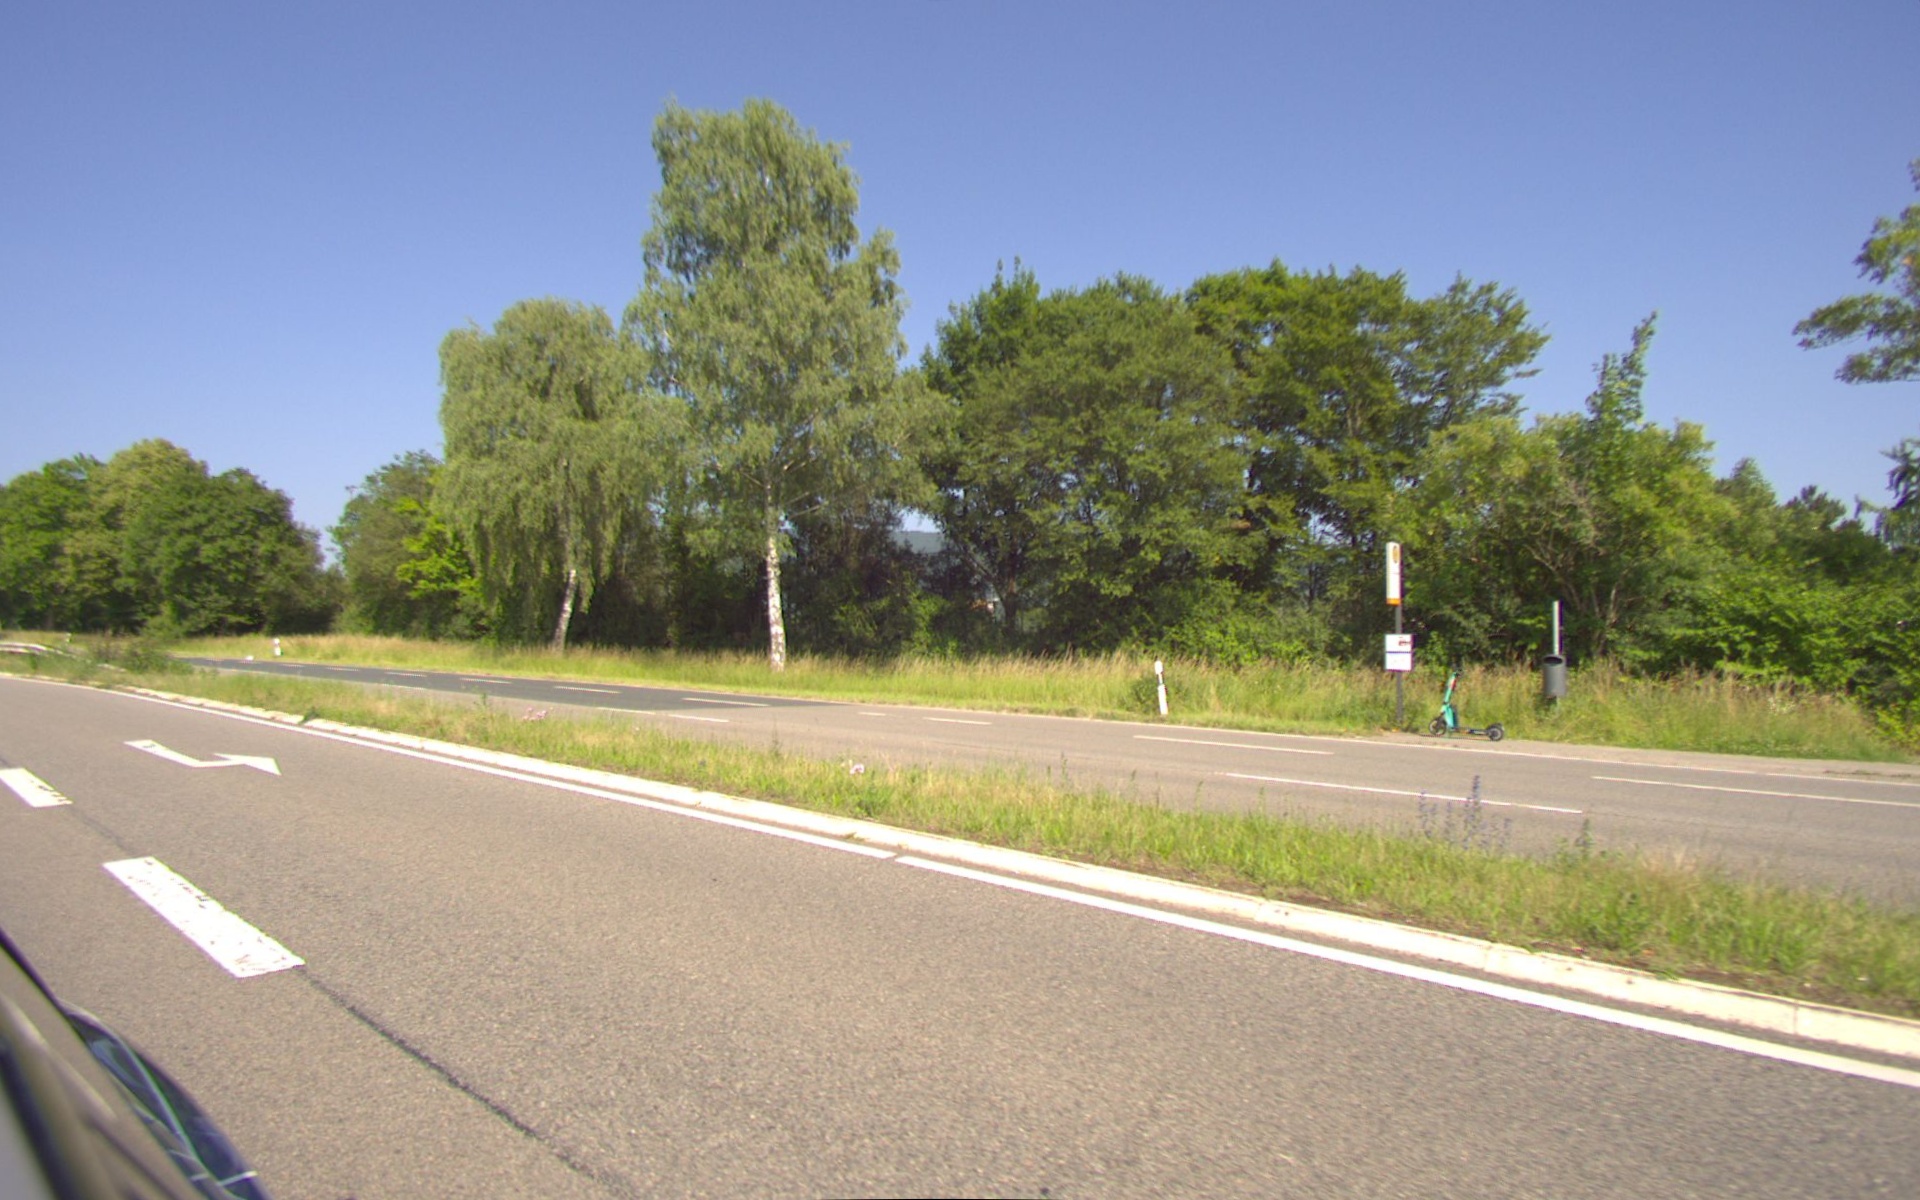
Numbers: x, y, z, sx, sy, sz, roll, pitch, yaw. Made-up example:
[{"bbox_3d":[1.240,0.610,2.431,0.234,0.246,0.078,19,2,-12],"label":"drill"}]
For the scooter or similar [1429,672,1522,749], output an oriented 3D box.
[{"bbox_3d":[8.574,1.820,16.856,1.340,1.195,0.364,-1,-4,41],"label":"scooter or similar"}]
